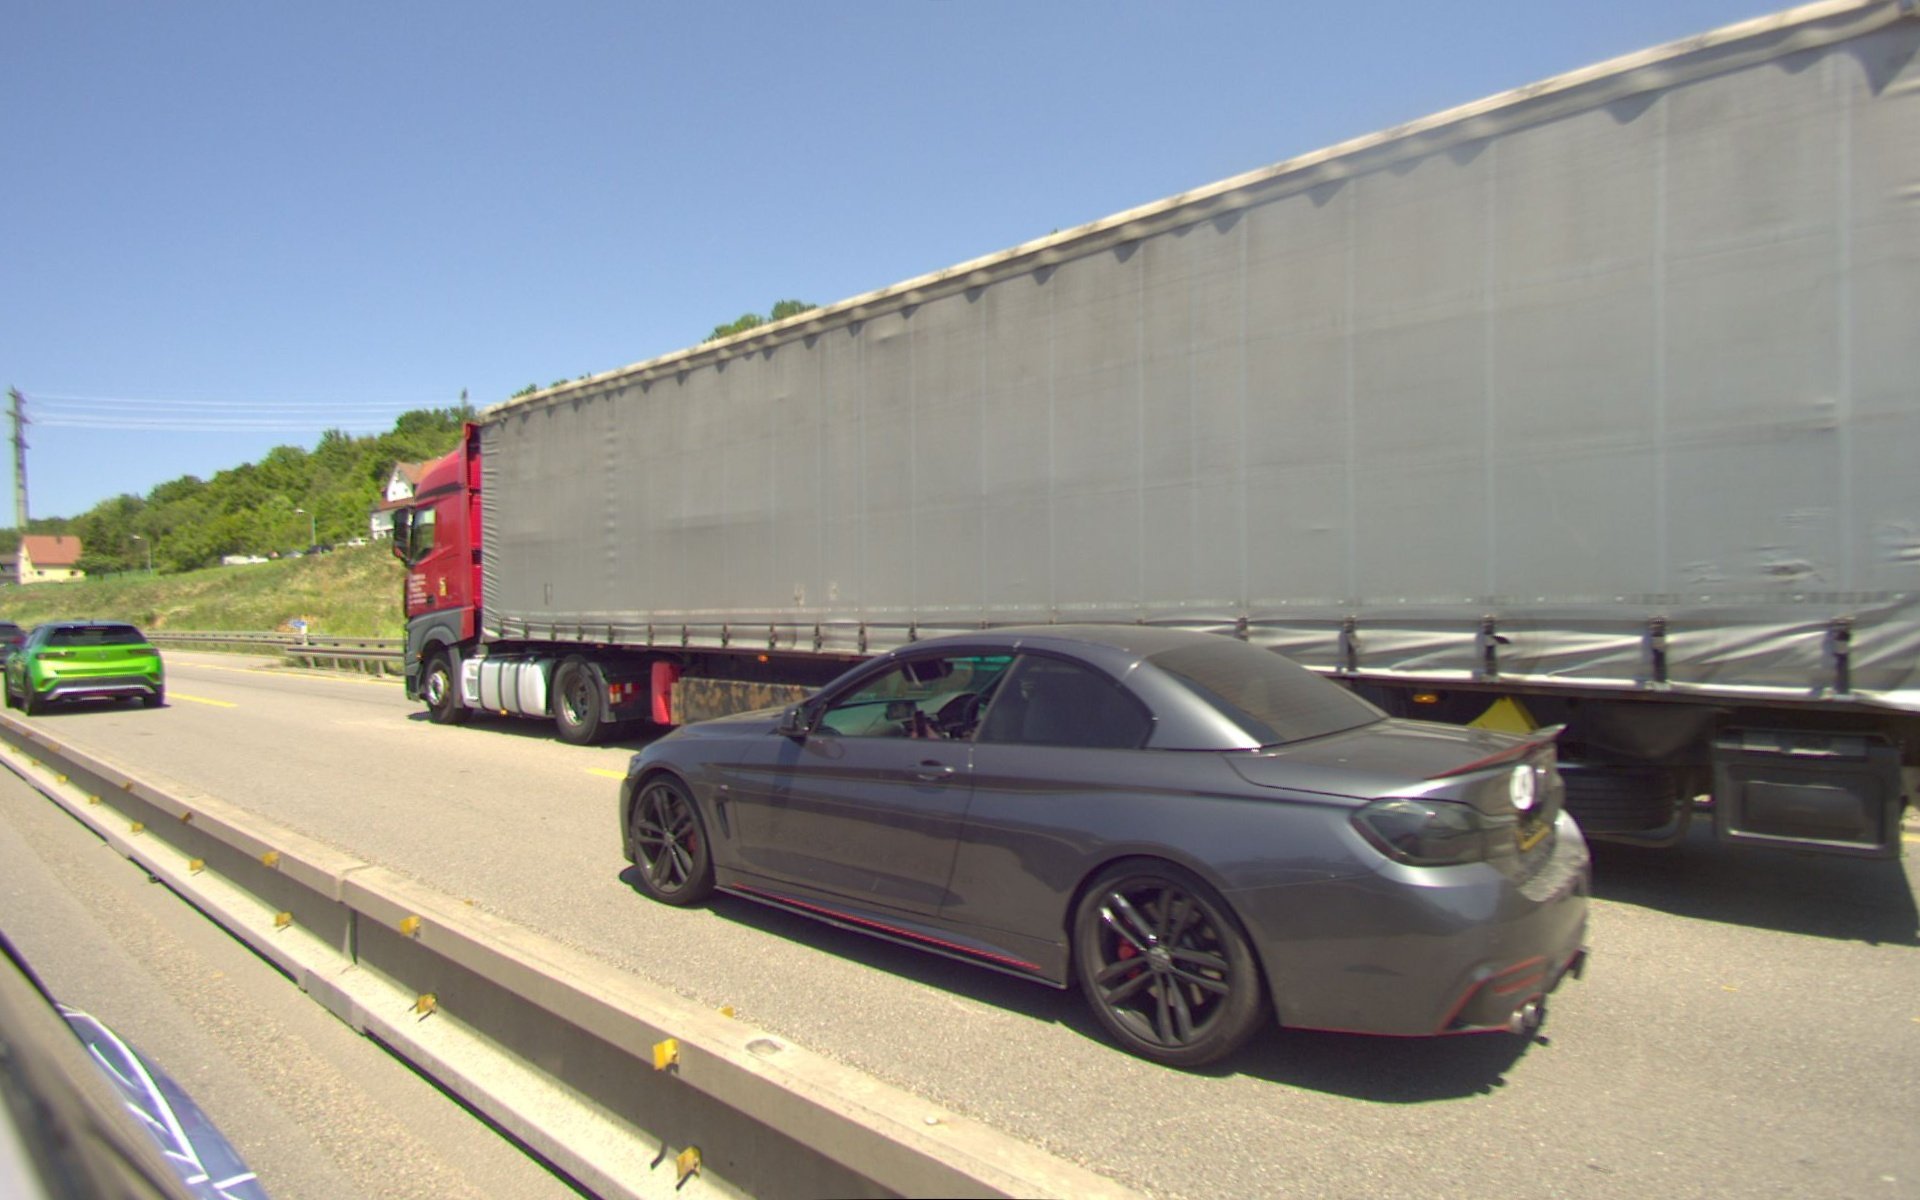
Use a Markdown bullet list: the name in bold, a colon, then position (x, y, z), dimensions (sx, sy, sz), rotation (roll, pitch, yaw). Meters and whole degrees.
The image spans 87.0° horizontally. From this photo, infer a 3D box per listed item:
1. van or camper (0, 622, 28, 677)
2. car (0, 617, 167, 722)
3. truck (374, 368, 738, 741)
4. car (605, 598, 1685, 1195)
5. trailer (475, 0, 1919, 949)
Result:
- **van or camper**: position (-31.264, 1.565, 32.327), dimensions (3.886, 1.681, 1.809), rotation (-2, -1, 41)
- **car**: position (-15.270, 1.115, 17.477), dimensions (3.998, 1.519, 1.736), rotation (-2, 1, 41)
- **truck**: position (-5.615, -0.469, 13.845), dimensions (4.596, 4.155, 2.792), rotation (-2, -1, 41)
- **car**: position (0.398, 0.724, 4.464), dimensions (4.409, 1.373, 1.749), rotation (-1, -1, 41)
- **trailer**: position (0.208, -0.627, 8.764), dimensions (13.429, 4.155, 2.827), rotation (-2, -1, 41)
